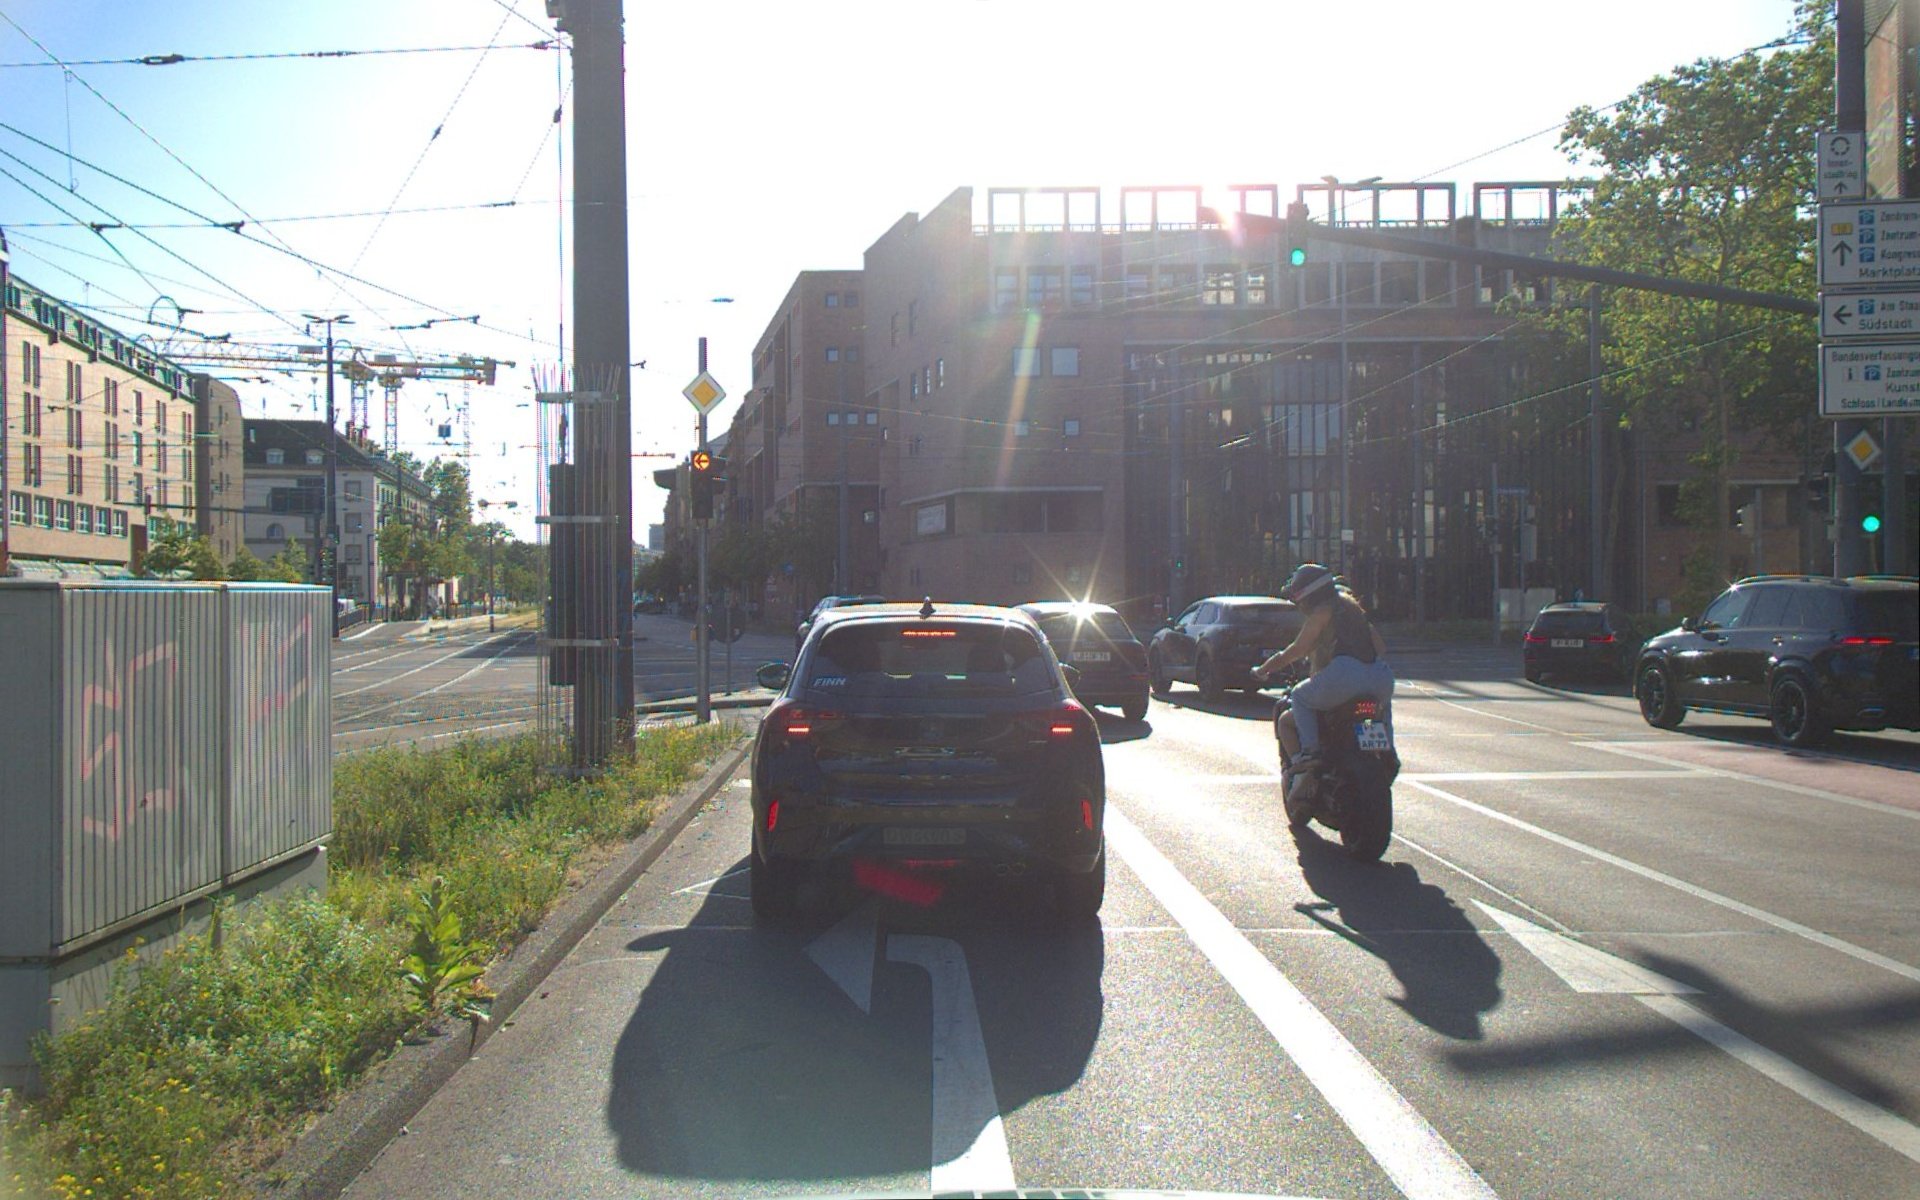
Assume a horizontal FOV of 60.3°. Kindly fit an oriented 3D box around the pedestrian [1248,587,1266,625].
[{"bbox_3d":[12.903,0.261,71.783,0.722,1.645,0.561,-1,0,7],"label":"pedestrian"}]

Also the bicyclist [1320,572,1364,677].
[{"bbox_3d":[6.748,0.431,29.216,0.565,1.822,0.863,-1,0,0],"label":"bicyclist"}]

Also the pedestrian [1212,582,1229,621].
[{"bbox_3d":[9.776,0.064,62.177,0.519,1.455,0.598,-1,0,-2],"label":"pedestrian"}]

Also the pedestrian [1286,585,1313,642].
[{"bbox_3d":[10.645,0.424,51.824,0.692,1.789,0.560,-1,0,24],"label":"pedestrian"}]

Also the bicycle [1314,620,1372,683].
[{"bbox_3d":[6.746,0.886,29.222,0.481,1.015,2.328,-1,0,0],"label":"bicycle"}]

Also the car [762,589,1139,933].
[{"bbox_3d":[-0.128,0.682,9.119,1.616,1.458,3.998,0,0,-3],"label":"car"}]

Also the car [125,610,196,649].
[{"bbox_3d":[-35.851,1.280,74.283,1.960,1.624,4.720,-1,0,-14],"label":"car"}]

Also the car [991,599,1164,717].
[{"bbox_3d":[1.428,0.685,21.545,1.703,1.373,3.997,0,0,-4],"label":"car"}]

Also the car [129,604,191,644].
[{"bbox_3d":[-32.291,0.963,66.829,1.718,1.531,3.860,-1,0,-18],"label":"car"}]

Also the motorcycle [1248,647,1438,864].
[{"bbox_3d":[2.307,0.896,10.205,0.759,1.135,1.969,-1,0,2],"label":"motorcycle"}]

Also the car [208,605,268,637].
[{"bbox_3d":[-35.181,1.012,80.688,1.542,1.474,3.995,-1,0,-6],"label":"car"}]

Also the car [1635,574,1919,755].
[{"bbox_3d":[9.577,0.619,18.609,1.954,1.780,4.325,-1,0,-4],"label":"car"}]

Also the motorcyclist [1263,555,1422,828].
[{"bbox_3d":[2.287,0.523,9.987,0.729,1.557,1.021,-1,0,1],"label":"motorcyclist"}]

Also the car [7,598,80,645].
[{"bbox_3d":[-42.013,0.953,75.922,1.960,2.049,3.985,-1,0,-14],"label":"car"}]

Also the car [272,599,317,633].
[{"bbox_3d":[-32.046,0.752,79.701,1.718,1.531,3.860,-1,0,-18],"label":"car"}]

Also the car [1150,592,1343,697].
[{"bbox_3d":[4.317,0.626,25.538,1.774,1.482,3.992,1,0,-9],"label":"car"}]

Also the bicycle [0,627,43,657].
[{"bbox_3d":[-36.810,1.641,64.756,0.638,1.104,2.920,-1,0,-9],"label":"bicycle"}]

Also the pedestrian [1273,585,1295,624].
[{"bbox_3d":[13.887,0.189,70.852,0.881,1.645,0.561,-1,0,7],"label":"pedestrian"}]

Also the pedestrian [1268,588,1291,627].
[{"bbox_3d":[13.497,0.301,69.917,0.881,1.645,0.561,-1,0,7],"label":"pedestrian"}]

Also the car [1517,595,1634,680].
[{"bbox_3d":[11.902,0.666,31.911,1.953,1.444,4.000,2,1,22],"label":"car"}]

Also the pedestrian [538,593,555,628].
[{"bbox_3d":[-19.869,0.512,79.508,0.752,1.669,0.742,-1,0,-14],"label":"pedestrian"}]

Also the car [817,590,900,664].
[{"bbox_3d":[-2.474,0.606,39.664,1.704,1.680,3.993,0,0,-8],"label":"car"}]

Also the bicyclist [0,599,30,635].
[{"bbox_3d":[-36.684,0.656,64.182,0.743,1.399,0.949,-1,0,-9],"label":"bicyclist"}]

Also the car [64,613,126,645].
[{"bbox_3d":[-43.509,1.446,83.303,1.853,1.536,3.985,-1,0,-14],"label":"car"}]
